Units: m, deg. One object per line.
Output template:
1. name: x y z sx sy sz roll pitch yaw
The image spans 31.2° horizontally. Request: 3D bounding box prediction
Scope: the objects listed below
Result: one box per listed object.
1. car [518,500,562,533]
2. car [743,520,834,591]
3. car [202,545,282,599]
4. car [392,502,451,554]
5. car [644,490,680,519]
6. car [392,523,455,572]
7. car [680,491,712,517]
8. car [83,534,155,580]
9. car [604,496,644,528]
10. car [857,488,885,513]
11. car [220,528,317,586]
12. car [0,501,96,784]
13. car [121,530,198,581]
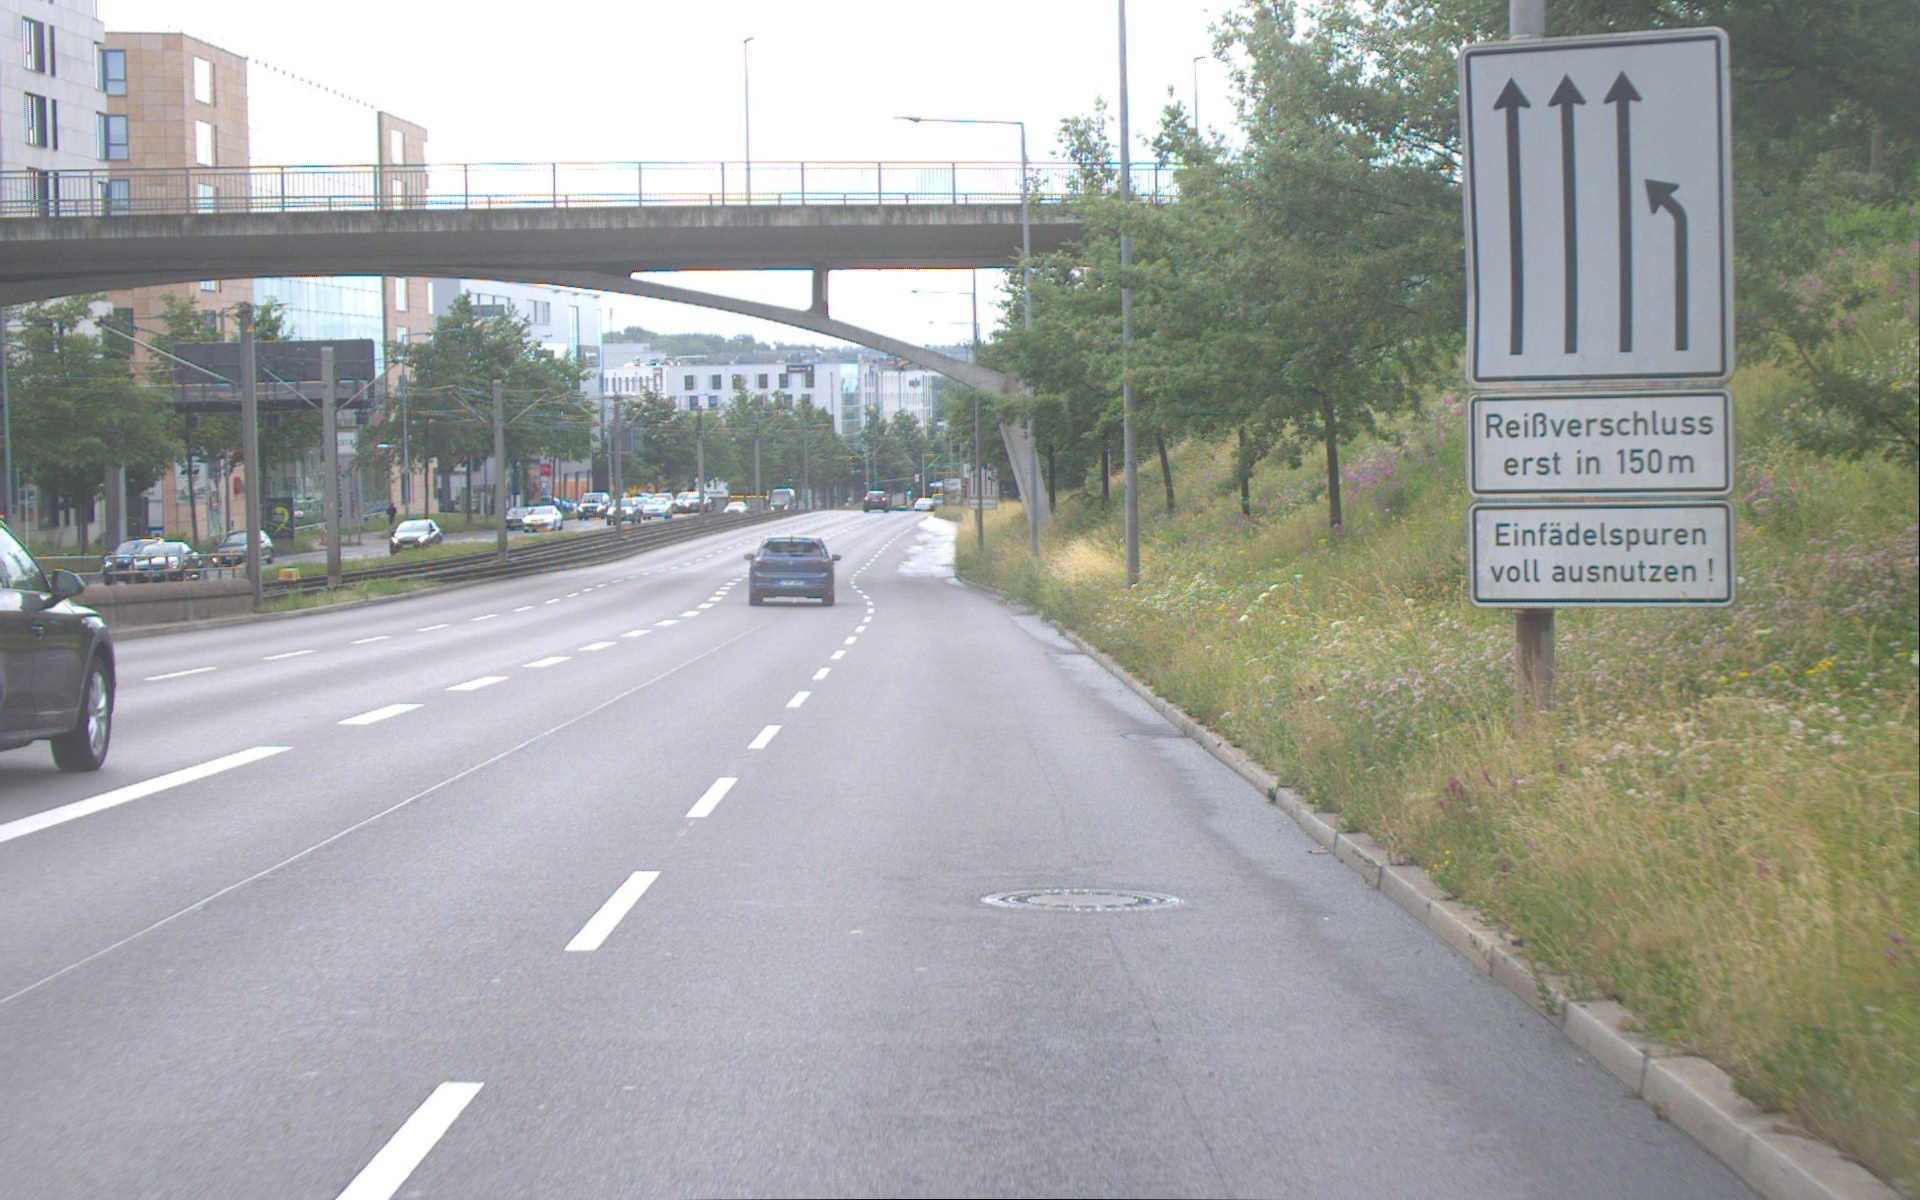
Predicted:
1. car: -24.935 -4.990 204.101 1.993 1.729 4.249 1 4 1
2. car: -3.570 -0.947 71.997 1.748 1.415 3.478 -1 2 -1
3. car: -20.105 -0.801 96.384 1.517 1.415 3.478 -1 2 -1
4. car: -23.387 -3.143 149.428 1.993 2.006 4.001 1 4 -2
5. car: -20.234 -6.483 233.676 1.993 1.729 4.249 1 4 1
6. car: -20.904 -2.059 134.015 1.993 1.700 4.001 1 4 -3
7. car: -19.657 -7.133 256.314 1.993 1.729 4.249 1 4 1
8. car: -27.598 -1.433 112.915 1.517 1.415 3.478 -1 2 -1
9. car: -20.808 -5.453 212.949 1.993 2.007 4.000 0 1 1
10. car: -6.657 -7.463 257.532 1.862 1.743 4.002 1 4 -4
11. car: -17.187 -1.075 85.543 1.748 1.415 3.478 0 1 -1
12. car: -6.360 0.238 19.885 1.751 1.612 4.749 0 1 -3
13. car: -23.865 -1.342 102.570 1.517 1.415 3.478 -1 2 -1
